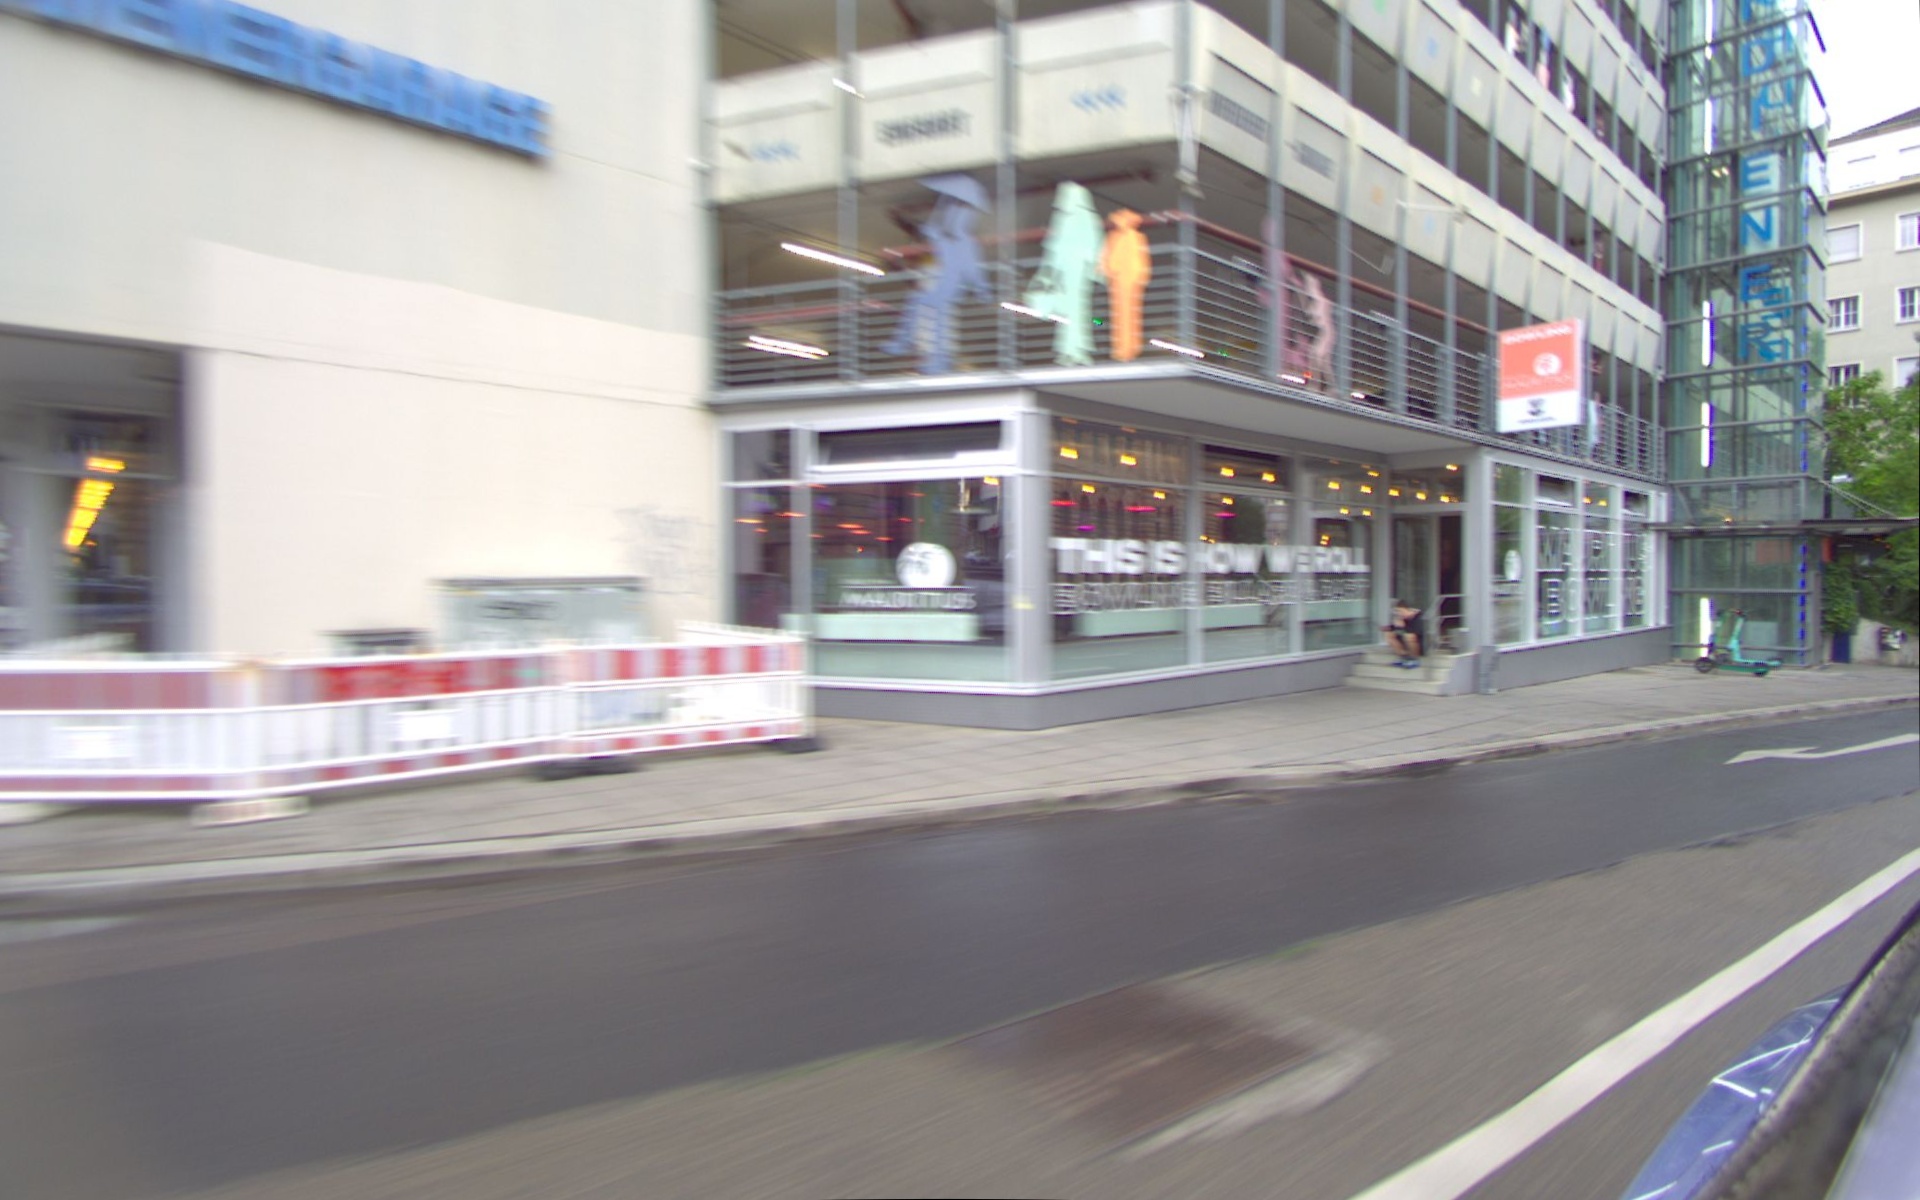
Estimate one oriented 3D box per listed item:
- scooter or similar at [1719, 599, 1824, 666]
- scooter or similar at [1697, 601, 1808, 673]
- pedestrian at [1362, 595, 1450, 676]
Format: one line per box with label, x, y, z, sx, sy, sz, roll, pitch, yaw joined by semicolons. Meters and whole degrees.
scooter or similar;16.753;0.651;20.949;1.632;1.283;0.733;3;1;38
scooter or similar;15.266;0.685;19.545;1.632;1.283;0.733;3;1;38
pedestrian;6.585;0.498;14.940;1.225;1.137;0.754;0;-1;-42
